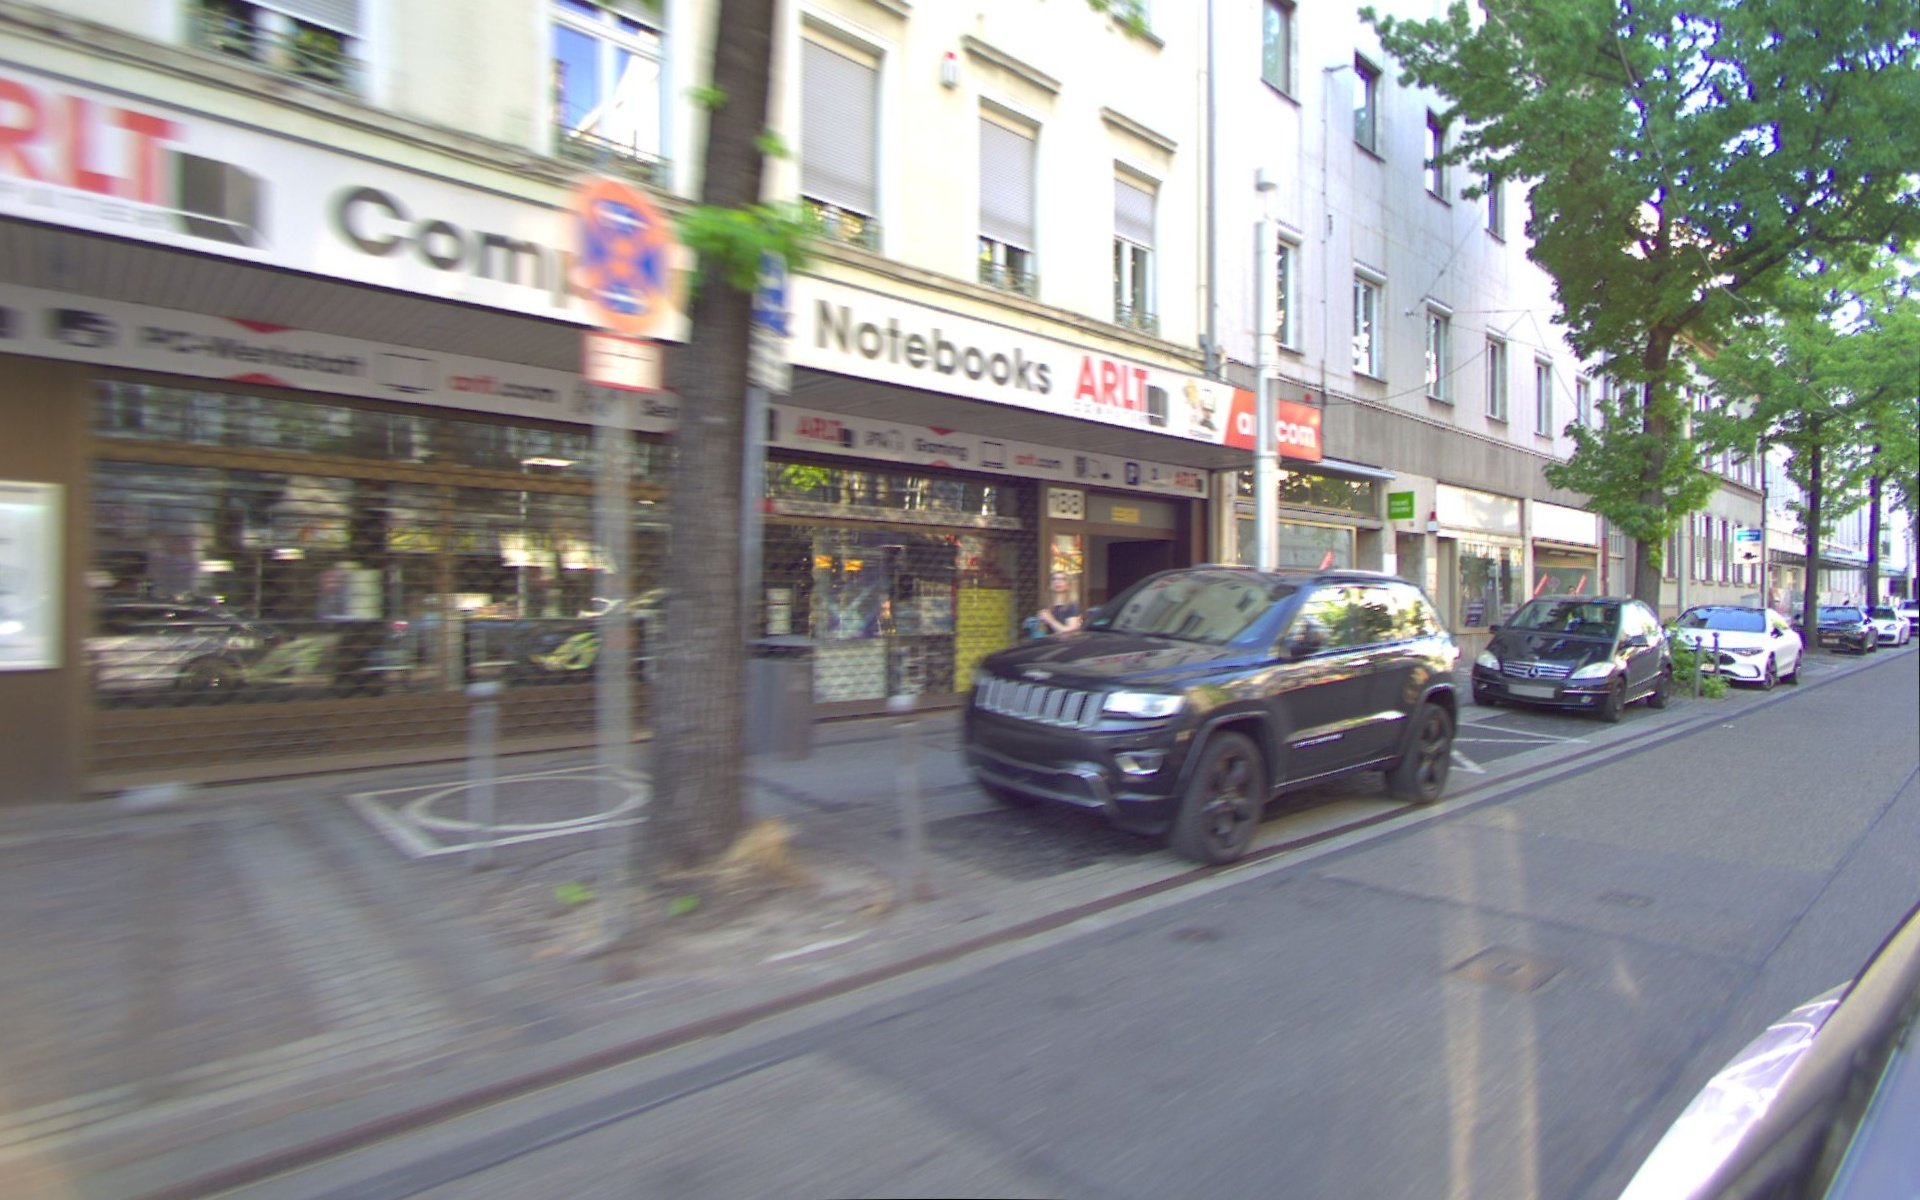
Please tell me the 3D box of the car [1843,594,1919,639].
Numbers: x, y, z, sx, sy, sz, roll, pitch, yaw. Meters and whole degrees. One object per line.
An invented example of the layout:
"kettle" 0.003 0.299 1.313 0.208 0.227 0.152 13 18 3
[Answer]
"car" 33.687 0.574 36.690 4.803 1.438 1.916 0 3 -42

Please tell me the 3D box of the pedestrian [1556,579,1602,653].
"pedestrian" 14.481 0.357 23.666 0.873 1.685 0.659 0 2 -43

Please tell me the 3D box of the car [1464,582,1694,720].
"car" 8.917 0.619 14.460 3.826 1.610 1.779 0 4 -43

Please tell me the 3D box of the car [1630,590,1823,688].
"car" 14.523 0.651 19.080 4.598 1.516 1.998 0 3 -42

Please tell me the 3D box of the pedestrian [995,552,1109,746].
"pedestrian" 0.853 0.424 9.387 0.773 1.690 0.644 1 3 -42

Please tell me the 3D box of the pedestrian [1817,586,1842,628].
"pedestrian" 40.711 0.311 47.372 1.035 1.910 0.714 1 1 -42

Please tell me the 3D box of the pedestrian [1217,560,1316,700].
"pedestrian" 4.131 0.378 13.650 0.917 1.774 0.860 1 3 -42

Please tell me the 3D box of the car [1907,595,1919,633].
"car" 47.022 0.691 48.677 1.999 1.708 4.888 3 3 45

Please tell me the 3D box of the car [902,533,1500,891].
"car" 1.999 0.527 7.401 4.600 1.780 1.942 0 4 -42

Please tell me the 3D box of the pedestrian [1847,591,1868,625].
"pedestrian" 41.838 0.374 47.153 0.785 1.593 0.650 0 0 -42

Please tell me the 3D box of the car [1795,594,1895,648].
"car" 27.380 0.597 31.264 4.681 1.496 1.835 0 2 -43
